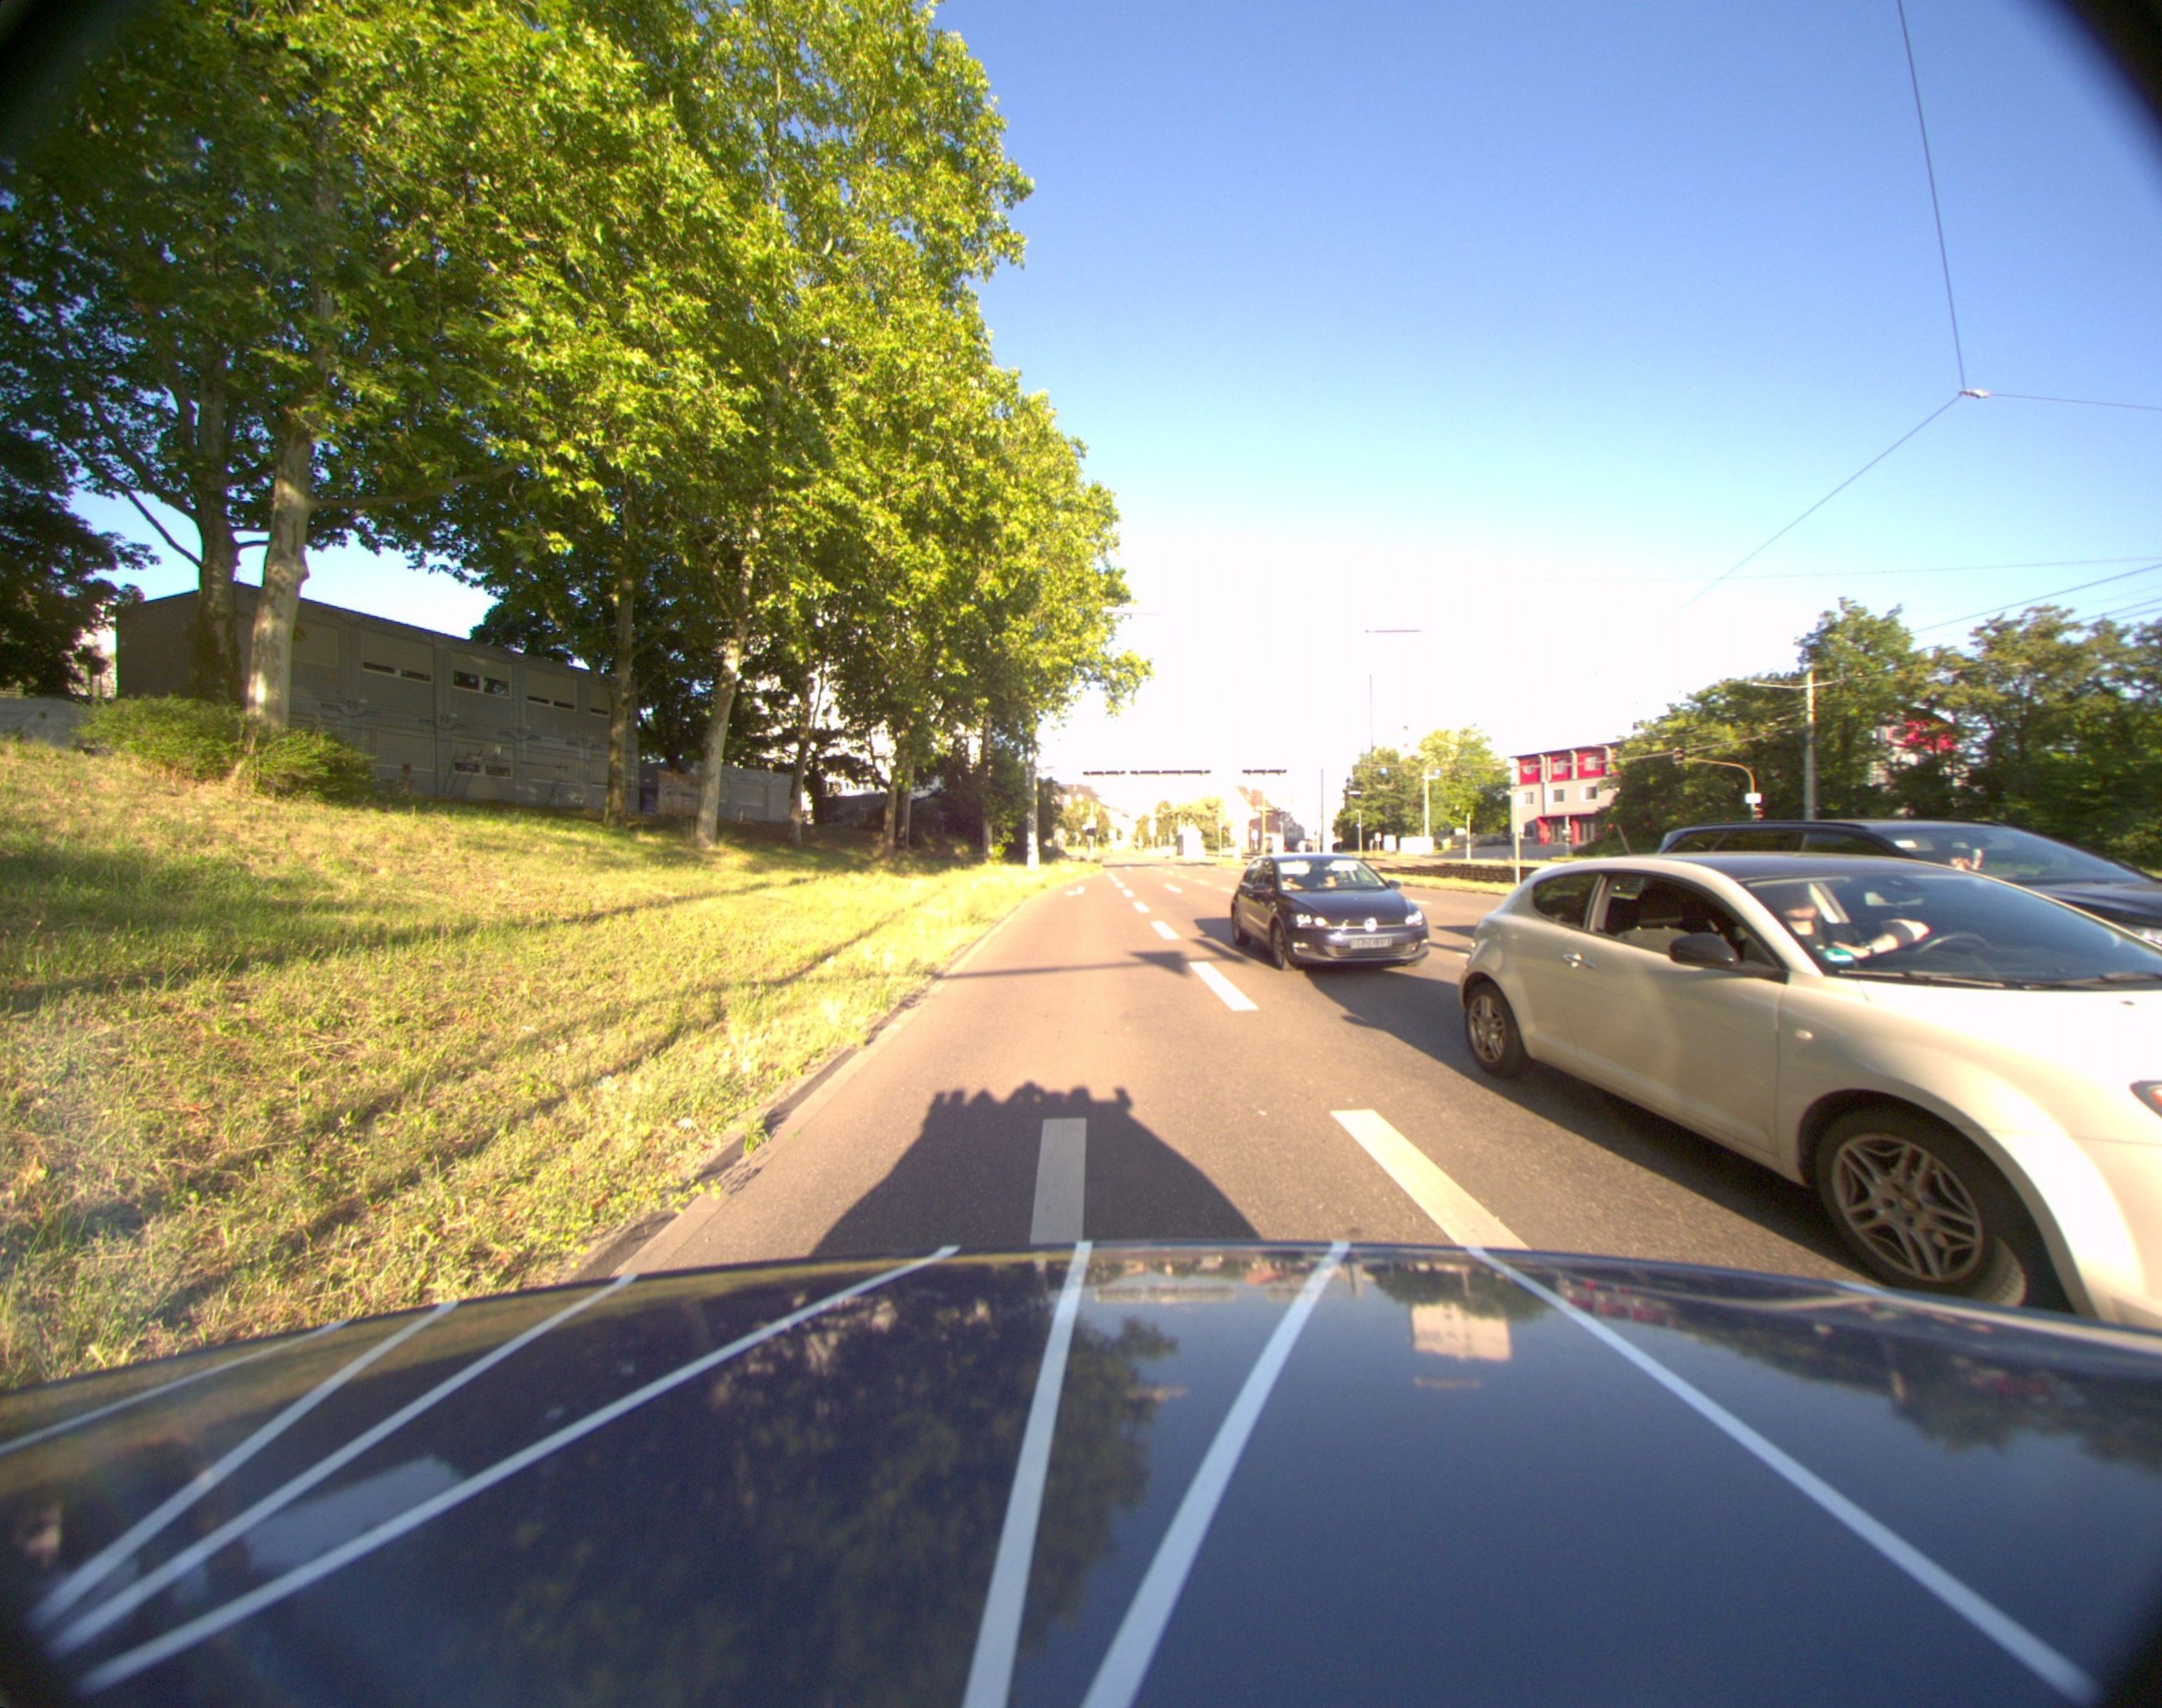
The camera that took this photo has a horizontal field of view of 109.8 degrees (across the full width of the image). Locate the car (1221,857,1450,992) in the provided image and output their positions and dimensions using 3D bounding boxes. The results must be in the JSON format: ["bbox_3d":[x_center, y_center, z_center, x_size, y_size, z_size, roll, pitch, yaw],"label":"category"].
[{"bbox_3d":[3.204,0.791,10.450,1.782,1.422,3.923,-1,0,-1],"label":"car"}]

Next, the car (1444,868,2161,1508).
[{"bbox_3d":[3.424,0.845,3.404,1.665,1.422,3.923,-1,0,-1],"label":"car"}]

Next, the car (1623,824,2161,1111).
[{"bbox_3d":[7.230,0.609,6.572,1.920,1.639,4.602,-1,0,2],"label":"car"}]
